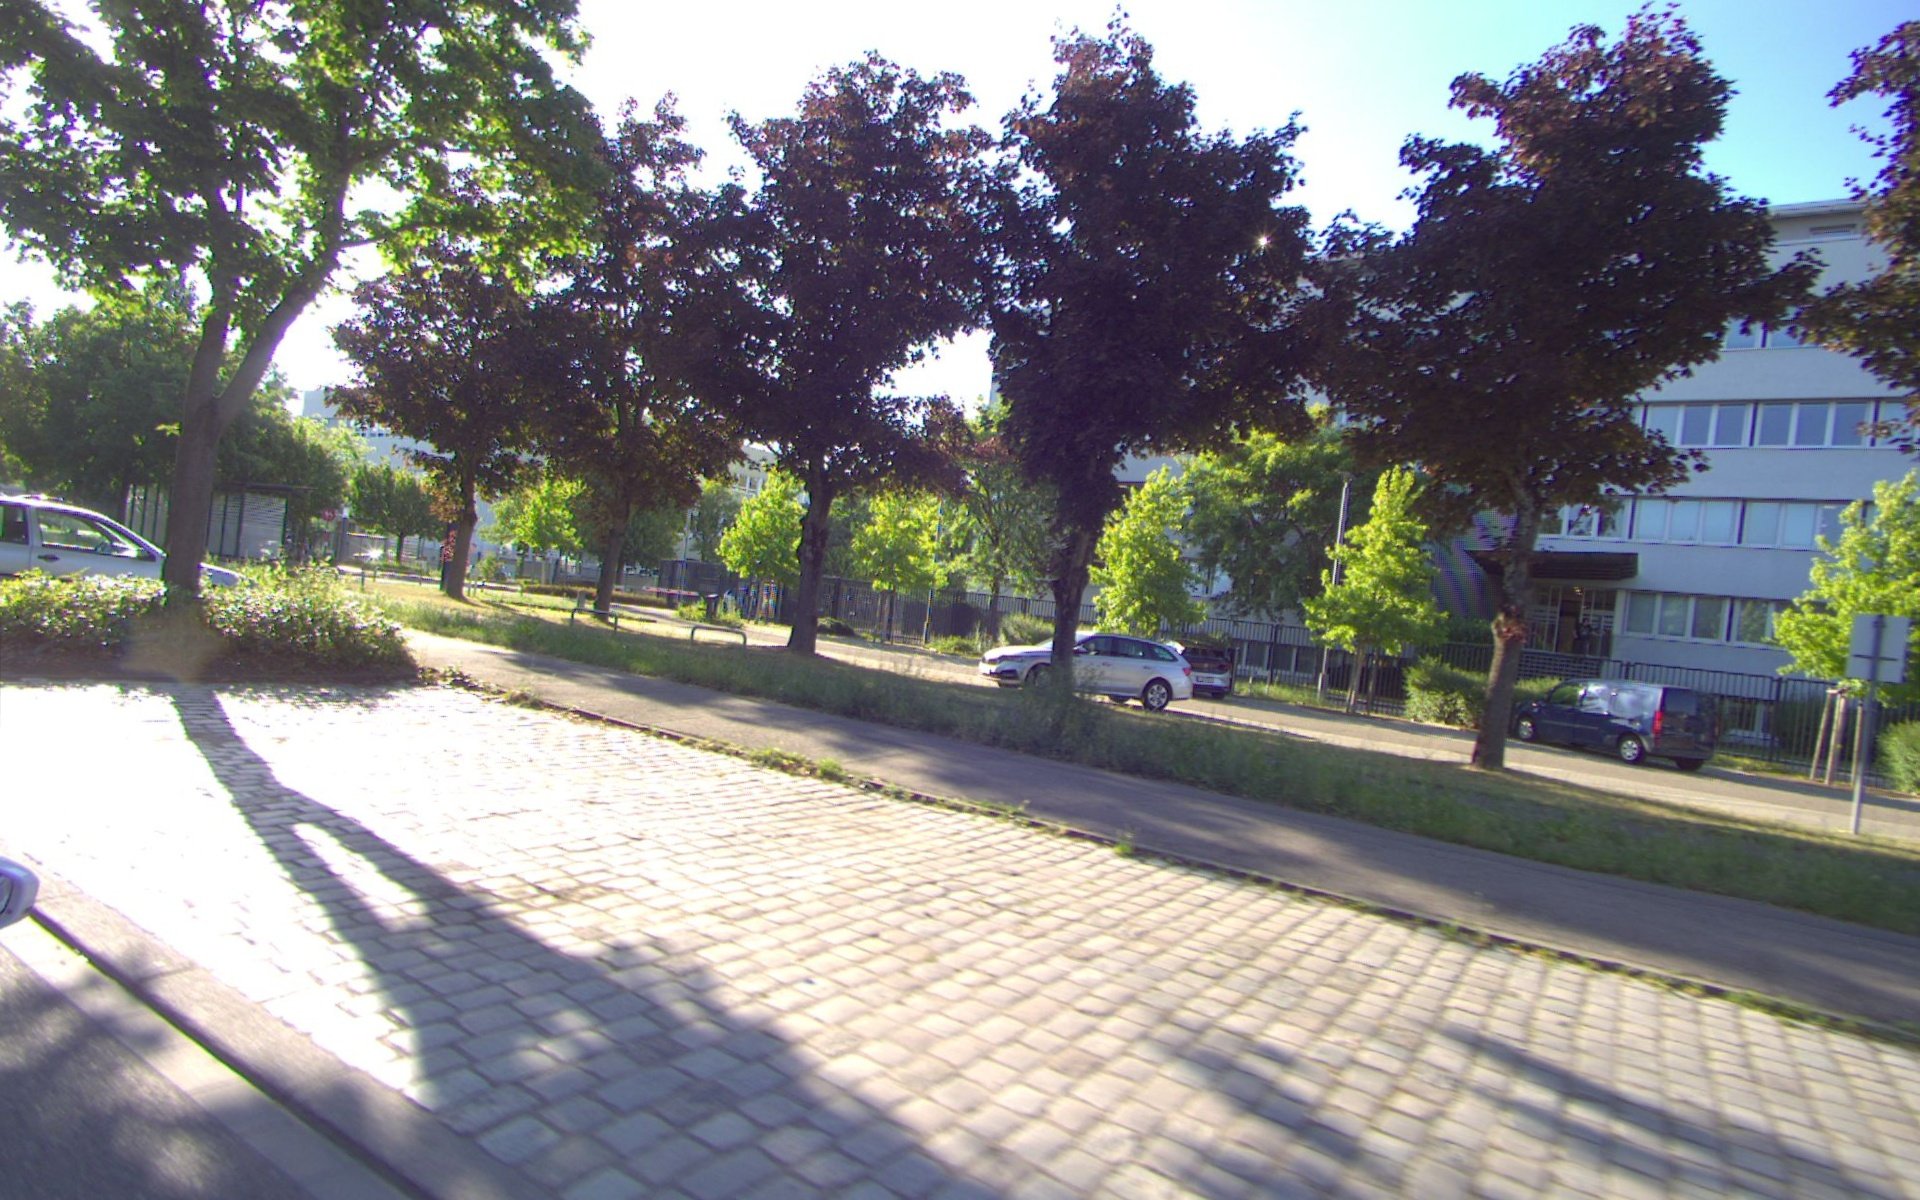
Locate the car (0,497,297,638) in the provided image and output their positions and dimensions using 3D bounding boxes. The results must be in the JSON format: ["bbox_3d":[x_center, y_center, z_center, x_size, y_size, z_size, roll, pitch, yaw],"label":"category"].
[{"bbox_3d":[-11.048,-0.438,12.434,1.972,1.498,4.349,6,1,41],"label":"car"}]

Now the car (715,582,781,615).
[{"bbox_3d":[-12.828,-0.100,60.927,3.765,1.549,1.619,7,0,34],"label":"car"}]

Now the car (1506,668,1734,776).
[{"bbox_3d":[15.315,2.769,23.697,1.738,1.771,4.487,7,0,-10],"label":"car"}]

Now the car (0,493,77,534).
[{"bbox_3d":[-50.747,-4.770,54.120,2.026,1.726,4.434,7,-1,33],"label":"car"}]

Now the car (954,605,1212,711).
[{"bbox_3d":[2.568,1.219,21.109,4.883,1.593,1.992,7,0,-19],"label":"car"}]

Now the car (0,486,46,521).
[{"bbox_3d":[-56.560,-5.837,58.733,1.969,1.726,4.360,7,0,36],"label":"car"}]

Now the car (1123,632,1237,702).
[{"bbox_3d":[6.331,1.901,29.460,1.737,1.546,4.298,7,0,-7],"label":"car"}]
